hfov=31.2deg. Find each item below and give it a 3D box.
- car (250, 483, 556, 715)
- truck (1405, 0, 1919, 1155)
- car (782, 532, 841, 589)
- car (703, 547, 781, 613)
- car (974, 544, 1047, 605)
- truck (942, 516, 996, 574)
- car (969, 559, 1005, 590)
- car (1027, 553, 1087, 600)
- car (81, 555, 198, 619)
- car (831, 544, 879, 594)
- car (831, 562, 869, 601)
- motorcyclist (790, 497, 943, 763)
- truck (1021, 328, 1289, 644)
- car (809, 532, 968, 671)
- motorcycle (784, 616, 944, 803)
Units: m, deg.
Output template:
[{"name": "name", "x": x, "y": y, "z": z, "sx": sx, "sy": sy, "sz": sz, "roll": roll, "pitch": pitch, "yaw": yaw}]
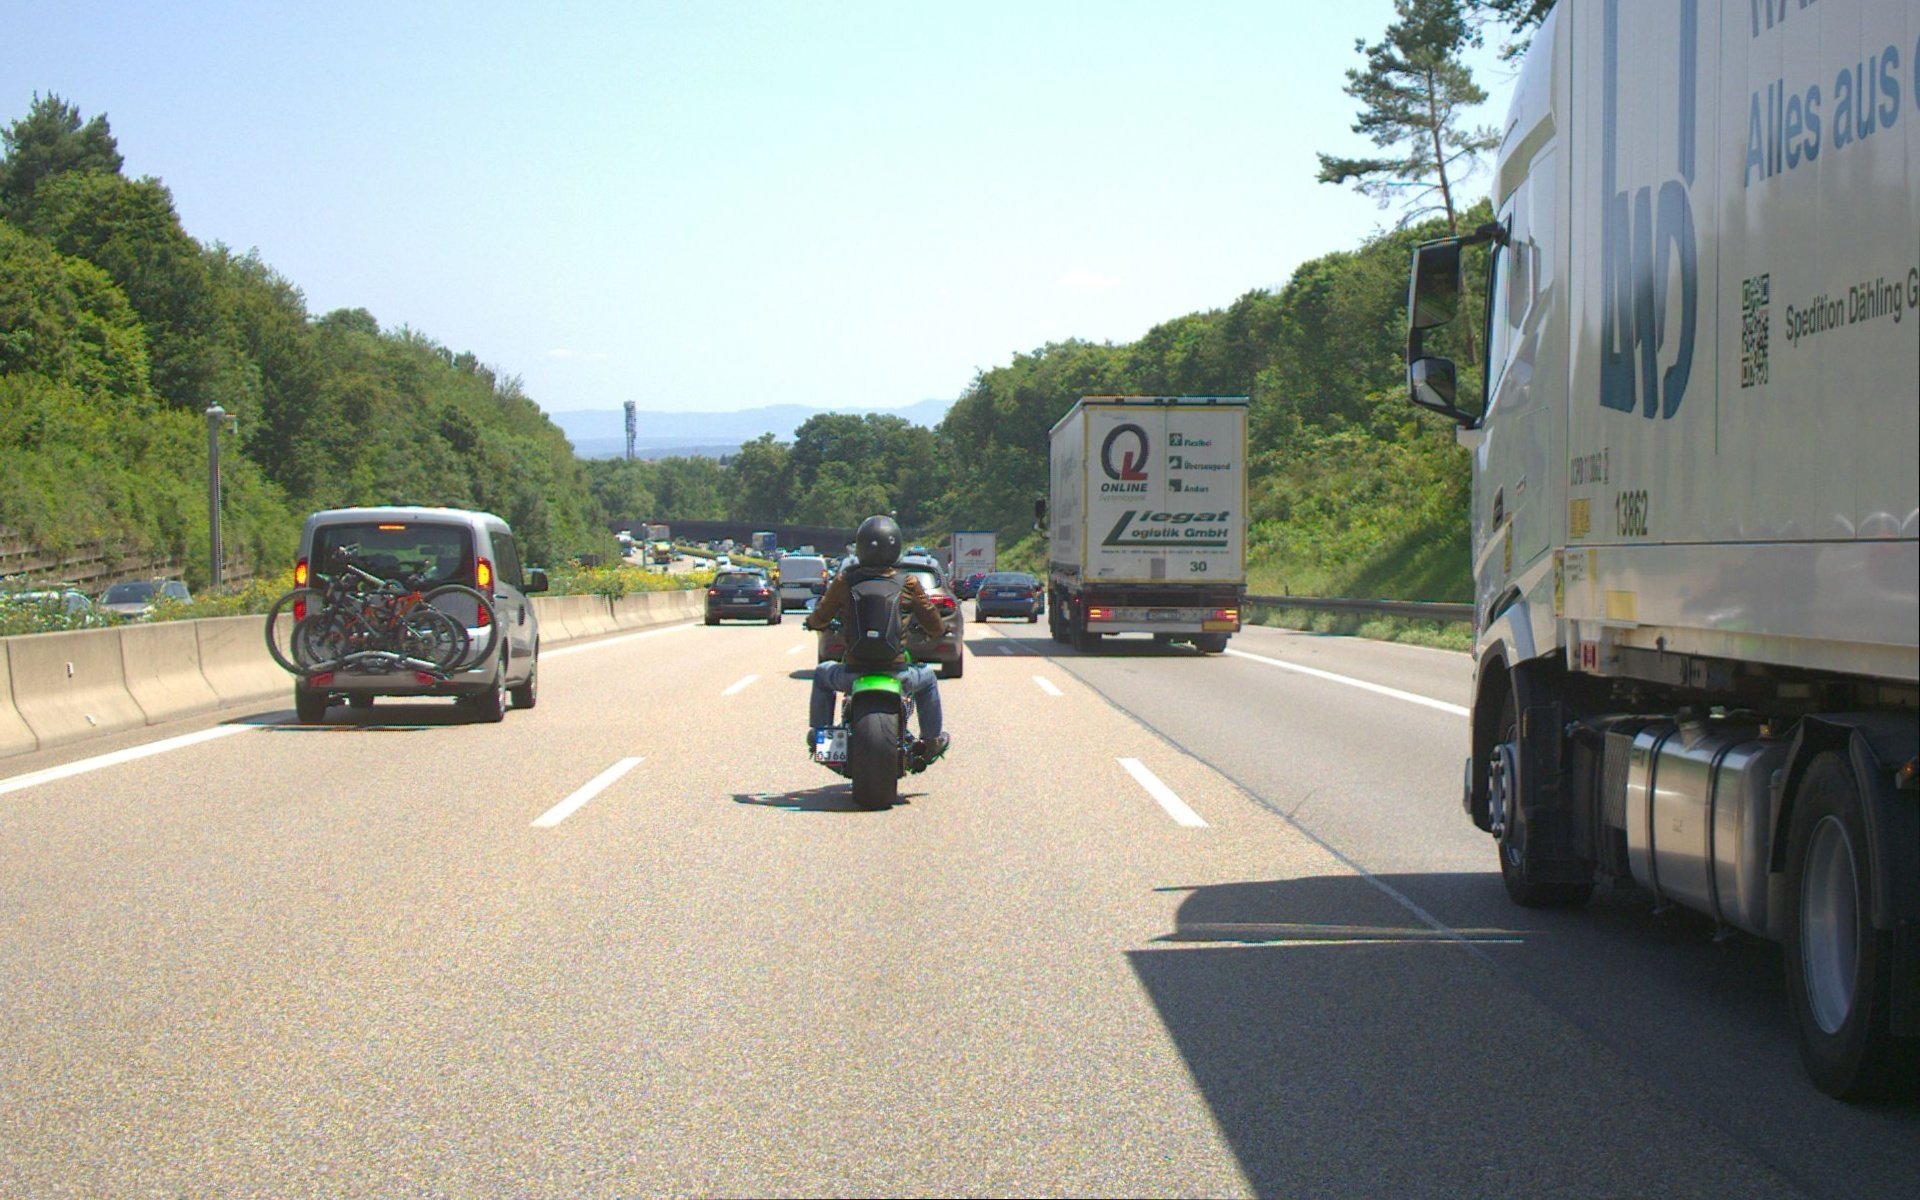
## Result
[{"name": "car", "x": -4.809, "y": -0.052, "z": 30.445, "sx": 1.898, "sy": 1.841, "sz": 5.483, "roll": 1, "pitch": 1, "yaw": -1}, {"name": "truck", "x": 3.550, "y": -0.772, "z": 10.604, "sx": 2.680, "sy": 4.045, "sz": 10.627, "roll": 1, "pitch": 1, "yaw": -1}, {"name": "car", "x": -4.904, "y": -1.324, "z": 113.648, "sx": 1.831, "sy": 1.804, "sz": 4.120, "roll": 1, "pitch": 2, "yaw": -1}, {"name": "car", "x": -5.511, "y": -0.520, "z": 87.339, "sx": 1.757, "sy": 1.538, "sz": 4.395, "roll": 1, "pitch": 2, "yaw": -1}, {"name": "car", "x": 1.351, "y": -0.713, "z": 93.631, "sx": 1.831, "sy": 1.553, "sz": 4.120, "roll": 1, "pitch": 2, "yaw": -1}, {"name": "truck", "x": 0.517, "y": -3.405, "z": 210.210, "sx": 3.067, "sy": 3.335, "sz": 9.653, "roll": 2, "pitch": 1, "yaw": -1}, {"name": "car", "x": 1.487, "y": -1.406, "z": 187.754, "sx": 1.831, "sy": 1.553, "sz": 4.120, "roll": 1, "pitch": 2, "yaw": -1}, {"name": "car", "x": 3.327, "y": -0.824, "z": 118.518, "sx": 1.831, "sy": 1.521, "sz": 4.028, "roll": 1, "pitch": 2, "yaw": -1}, {"name": "car", "x": -19.942, "y": -0.334, "z": 83.773, "sx": 1.658, "sy": 1.448, "sz": 4.922, "roll": 0, "pitch": 1, "yaw": 0}, {"name": "car", "x": -4.068, "y": -1.222, "z": 133.691, "sx": 1.831, "sy": 1.804, "sz": 4.120, "roll": 1, "pitch": 2, "yaw": -1}, {"name": "car", "x": -5.463, "y": -0.916, "z": 171.150, "sx": 1.831, "sy": 1.804, "sz": 4.120, "roll": 1, "pitch": 2, "yaw": -1}, {"name": "motorcyclist", "x": -0.532, "y": 0.163, "z": 20.010, "sx": 0.856, "sy": 1.510, "sz": 0.914, "roll": 0, "pitch": 1, "yaw": 0}, {"name": "truck", "x": 3.116, "y": -1.953, "z": 61.081, "sx": 3.383, "sy": 4.701, "sz": 17.710, "roll": 2, "pitch": 1, "yaw": -1}, {"name": "car", "x": -0.883, "y": -0.028, "z": 42.709, "sx": 1.845, "sy": 1.552, "sz": 4.440, "roll": 1, "pitch": 2, "yaw": -1}, {"name": "motorcycle", "x": -0.534, "y": 0.610, "z": 20.018, "sx": 0.862, "sy": 0.978, "sz": 2.131, "roll": 0, "pitch": 1, "yaw": 0}]
